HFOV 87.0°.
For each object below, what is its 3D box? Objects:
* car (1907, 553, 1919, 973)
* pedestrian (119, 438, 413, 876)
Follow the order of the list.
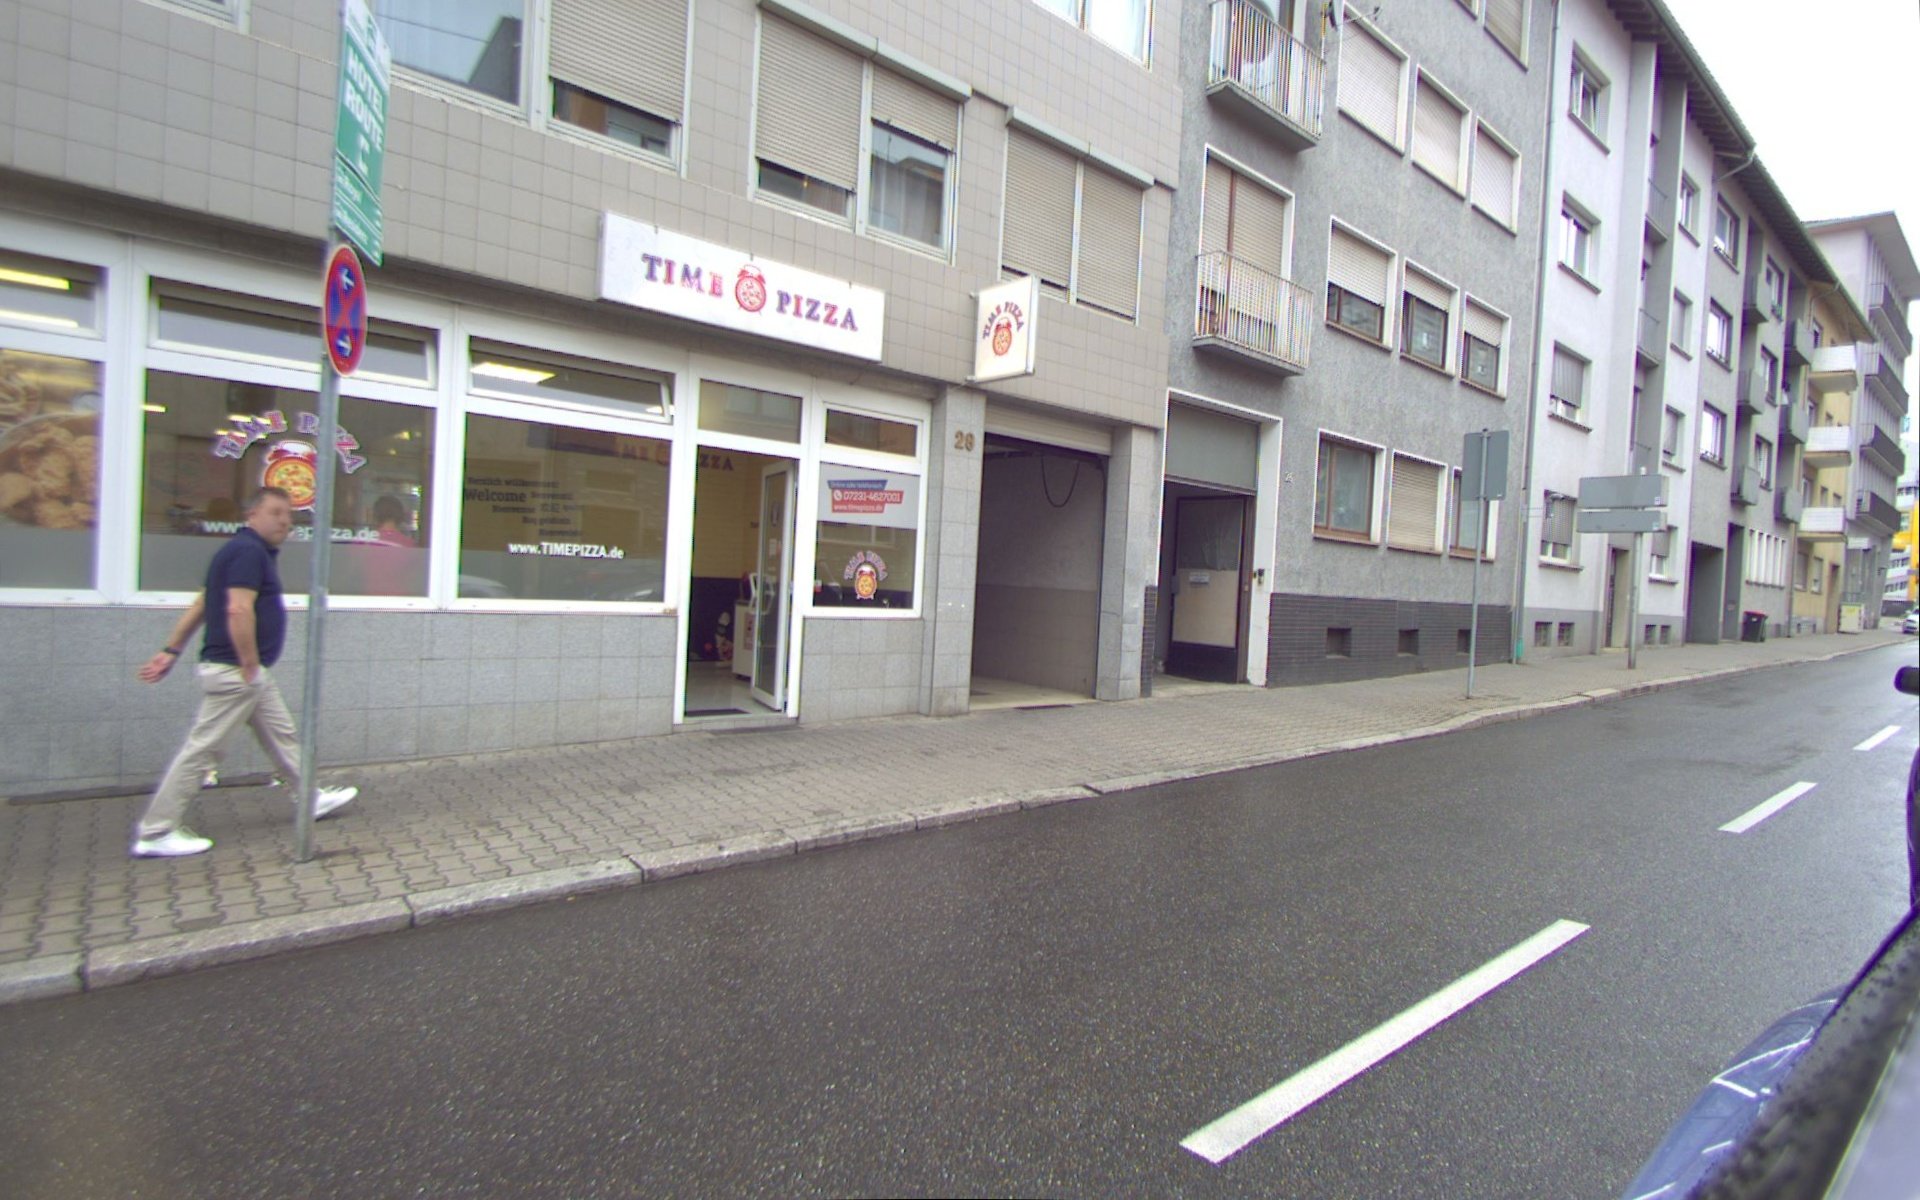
[{"bbox_3d":[6.070,0.657,4.937,4.144,1.743,1.697,-1,0,-41],"label":"car"},{"bbox_3d":[-3.436,0.201,5.003,1.100,1.887,0.871,0,7,-41],"label":"pedestrian"}]
